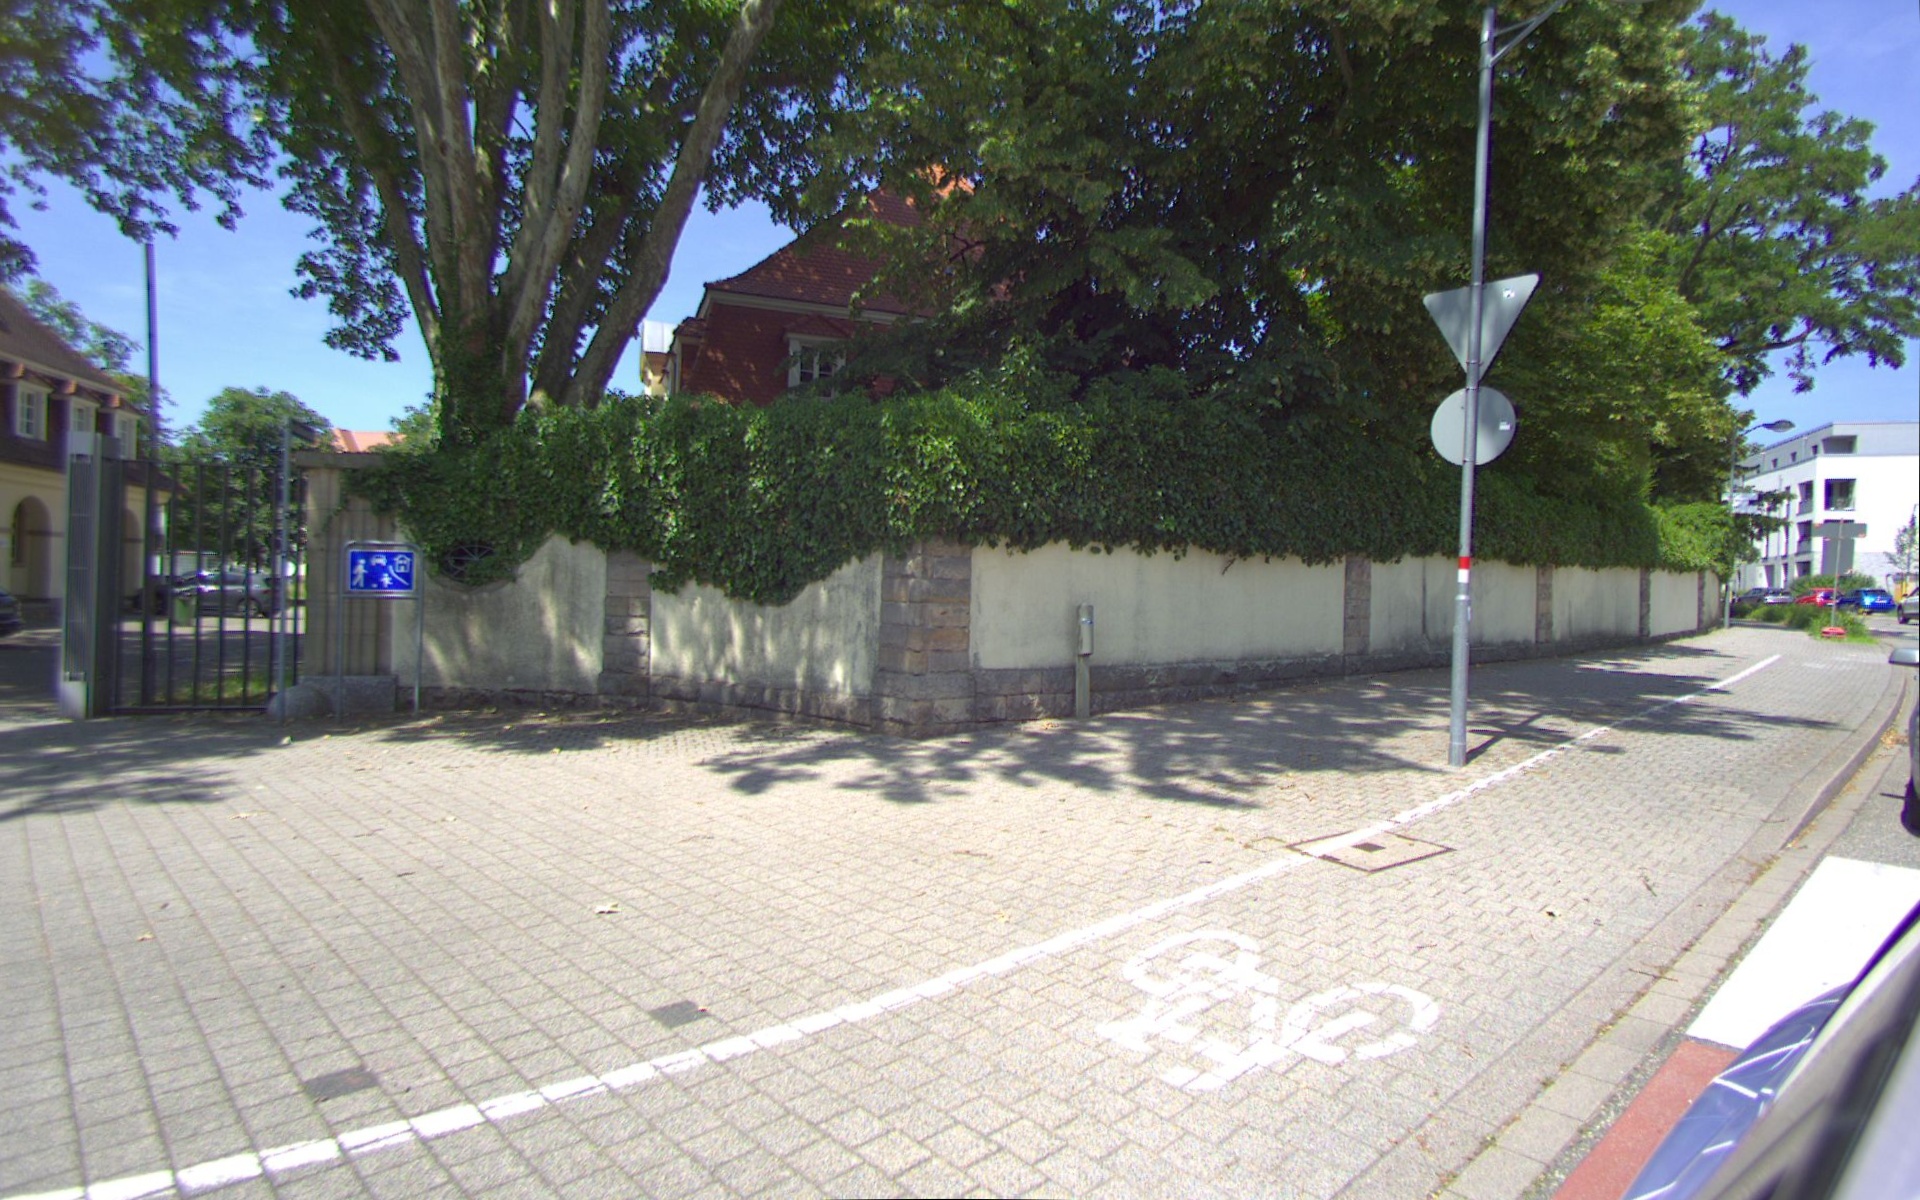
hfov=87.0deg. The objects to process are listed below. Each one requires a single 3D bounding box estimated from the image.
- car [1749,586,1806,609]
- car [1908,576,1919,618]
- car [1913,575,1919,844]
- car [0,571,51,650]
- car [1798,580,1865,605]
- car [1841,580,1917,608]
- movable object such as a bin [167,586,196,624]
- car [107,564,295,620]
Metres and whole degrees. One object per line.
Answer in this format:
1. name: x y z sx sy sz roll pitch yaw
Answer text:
1. car: 53.883 -0.206 66.771 1.684 1.431 3.701 0 1 18
2. car: 37.693 -0.091 38.265 1.801 1.628 4.076 0 1 30
3. car: 7.220 0.581 6.297 3.932 1.470 1.605 -1 1 -43
4. car: -20.095 0.034 18.694 4.407 1.420 2.004 5 0 -15
5. car: 52.094 -0.451 60.581 1.684 1.431 3.701 0 1 18
6. car: 50.259 -0.361 55.432 1.684 1.431 3.701 0 1 18
7. movable object such as a bin: -21.212 0.124 27.574 0.525 1.021 0.530 1 1 43
8. car: -24.664 -0.261 33.089 4.407 1.420 2.004 5 0 -15
